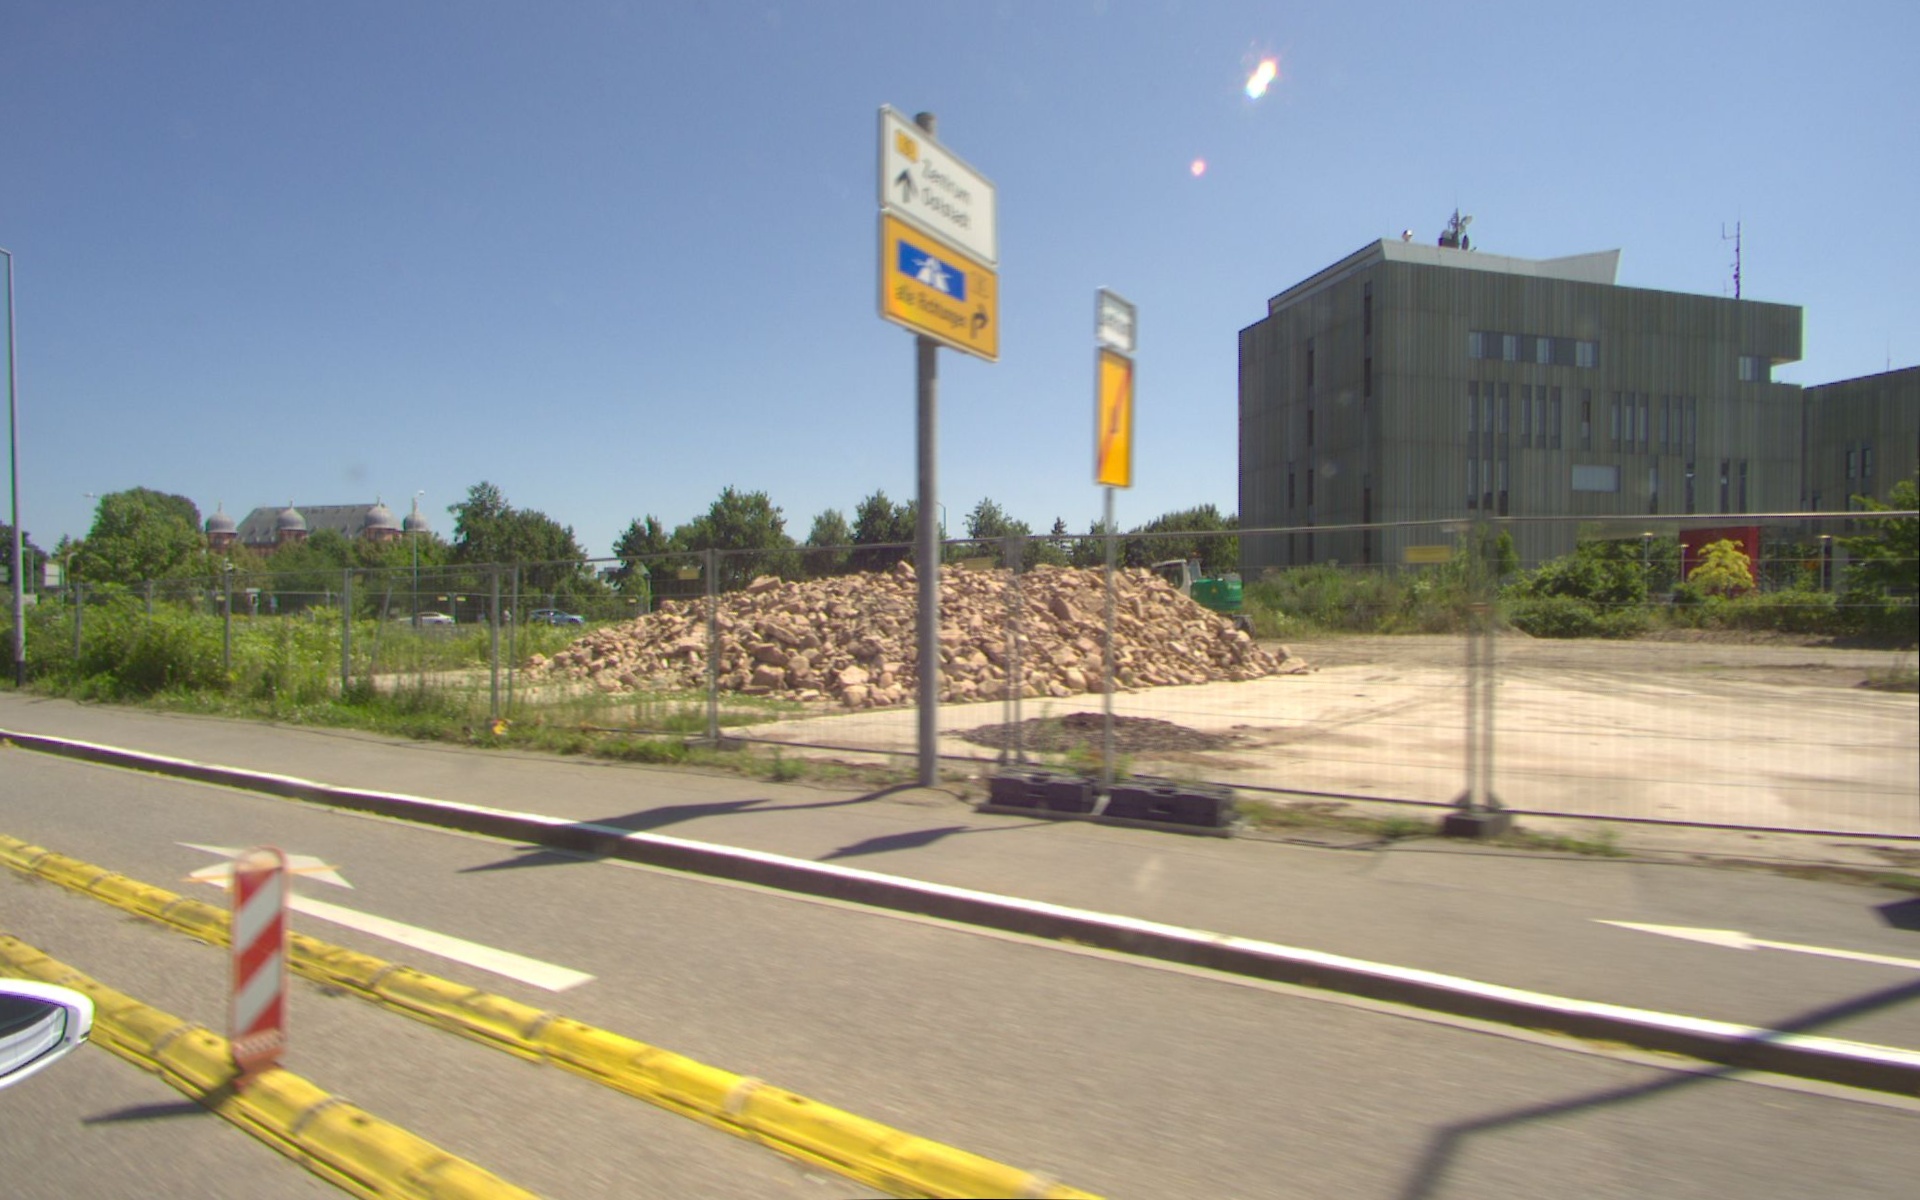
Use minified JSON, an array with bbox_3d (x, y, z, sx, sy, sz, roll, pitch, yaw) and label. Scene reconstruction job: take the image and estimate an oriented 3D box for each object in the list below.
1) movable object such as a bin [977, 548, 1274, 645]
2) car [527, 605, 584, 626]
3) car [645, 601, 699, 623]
[{"bbox_3d":[6.322,-0.150,38.780,10.313,3.304,4.931,0,1,31],"label":"movable object such as a bin"},{"bbox_3d":[-32.474,1.223,80.494,3.926,1.606,1.881,0,1,-13],"label":"car"},{"bbox_3d":[-22.761,0.918,79.178,3.984,1.640,1.839,0,1,-12],"label":"car"}]
